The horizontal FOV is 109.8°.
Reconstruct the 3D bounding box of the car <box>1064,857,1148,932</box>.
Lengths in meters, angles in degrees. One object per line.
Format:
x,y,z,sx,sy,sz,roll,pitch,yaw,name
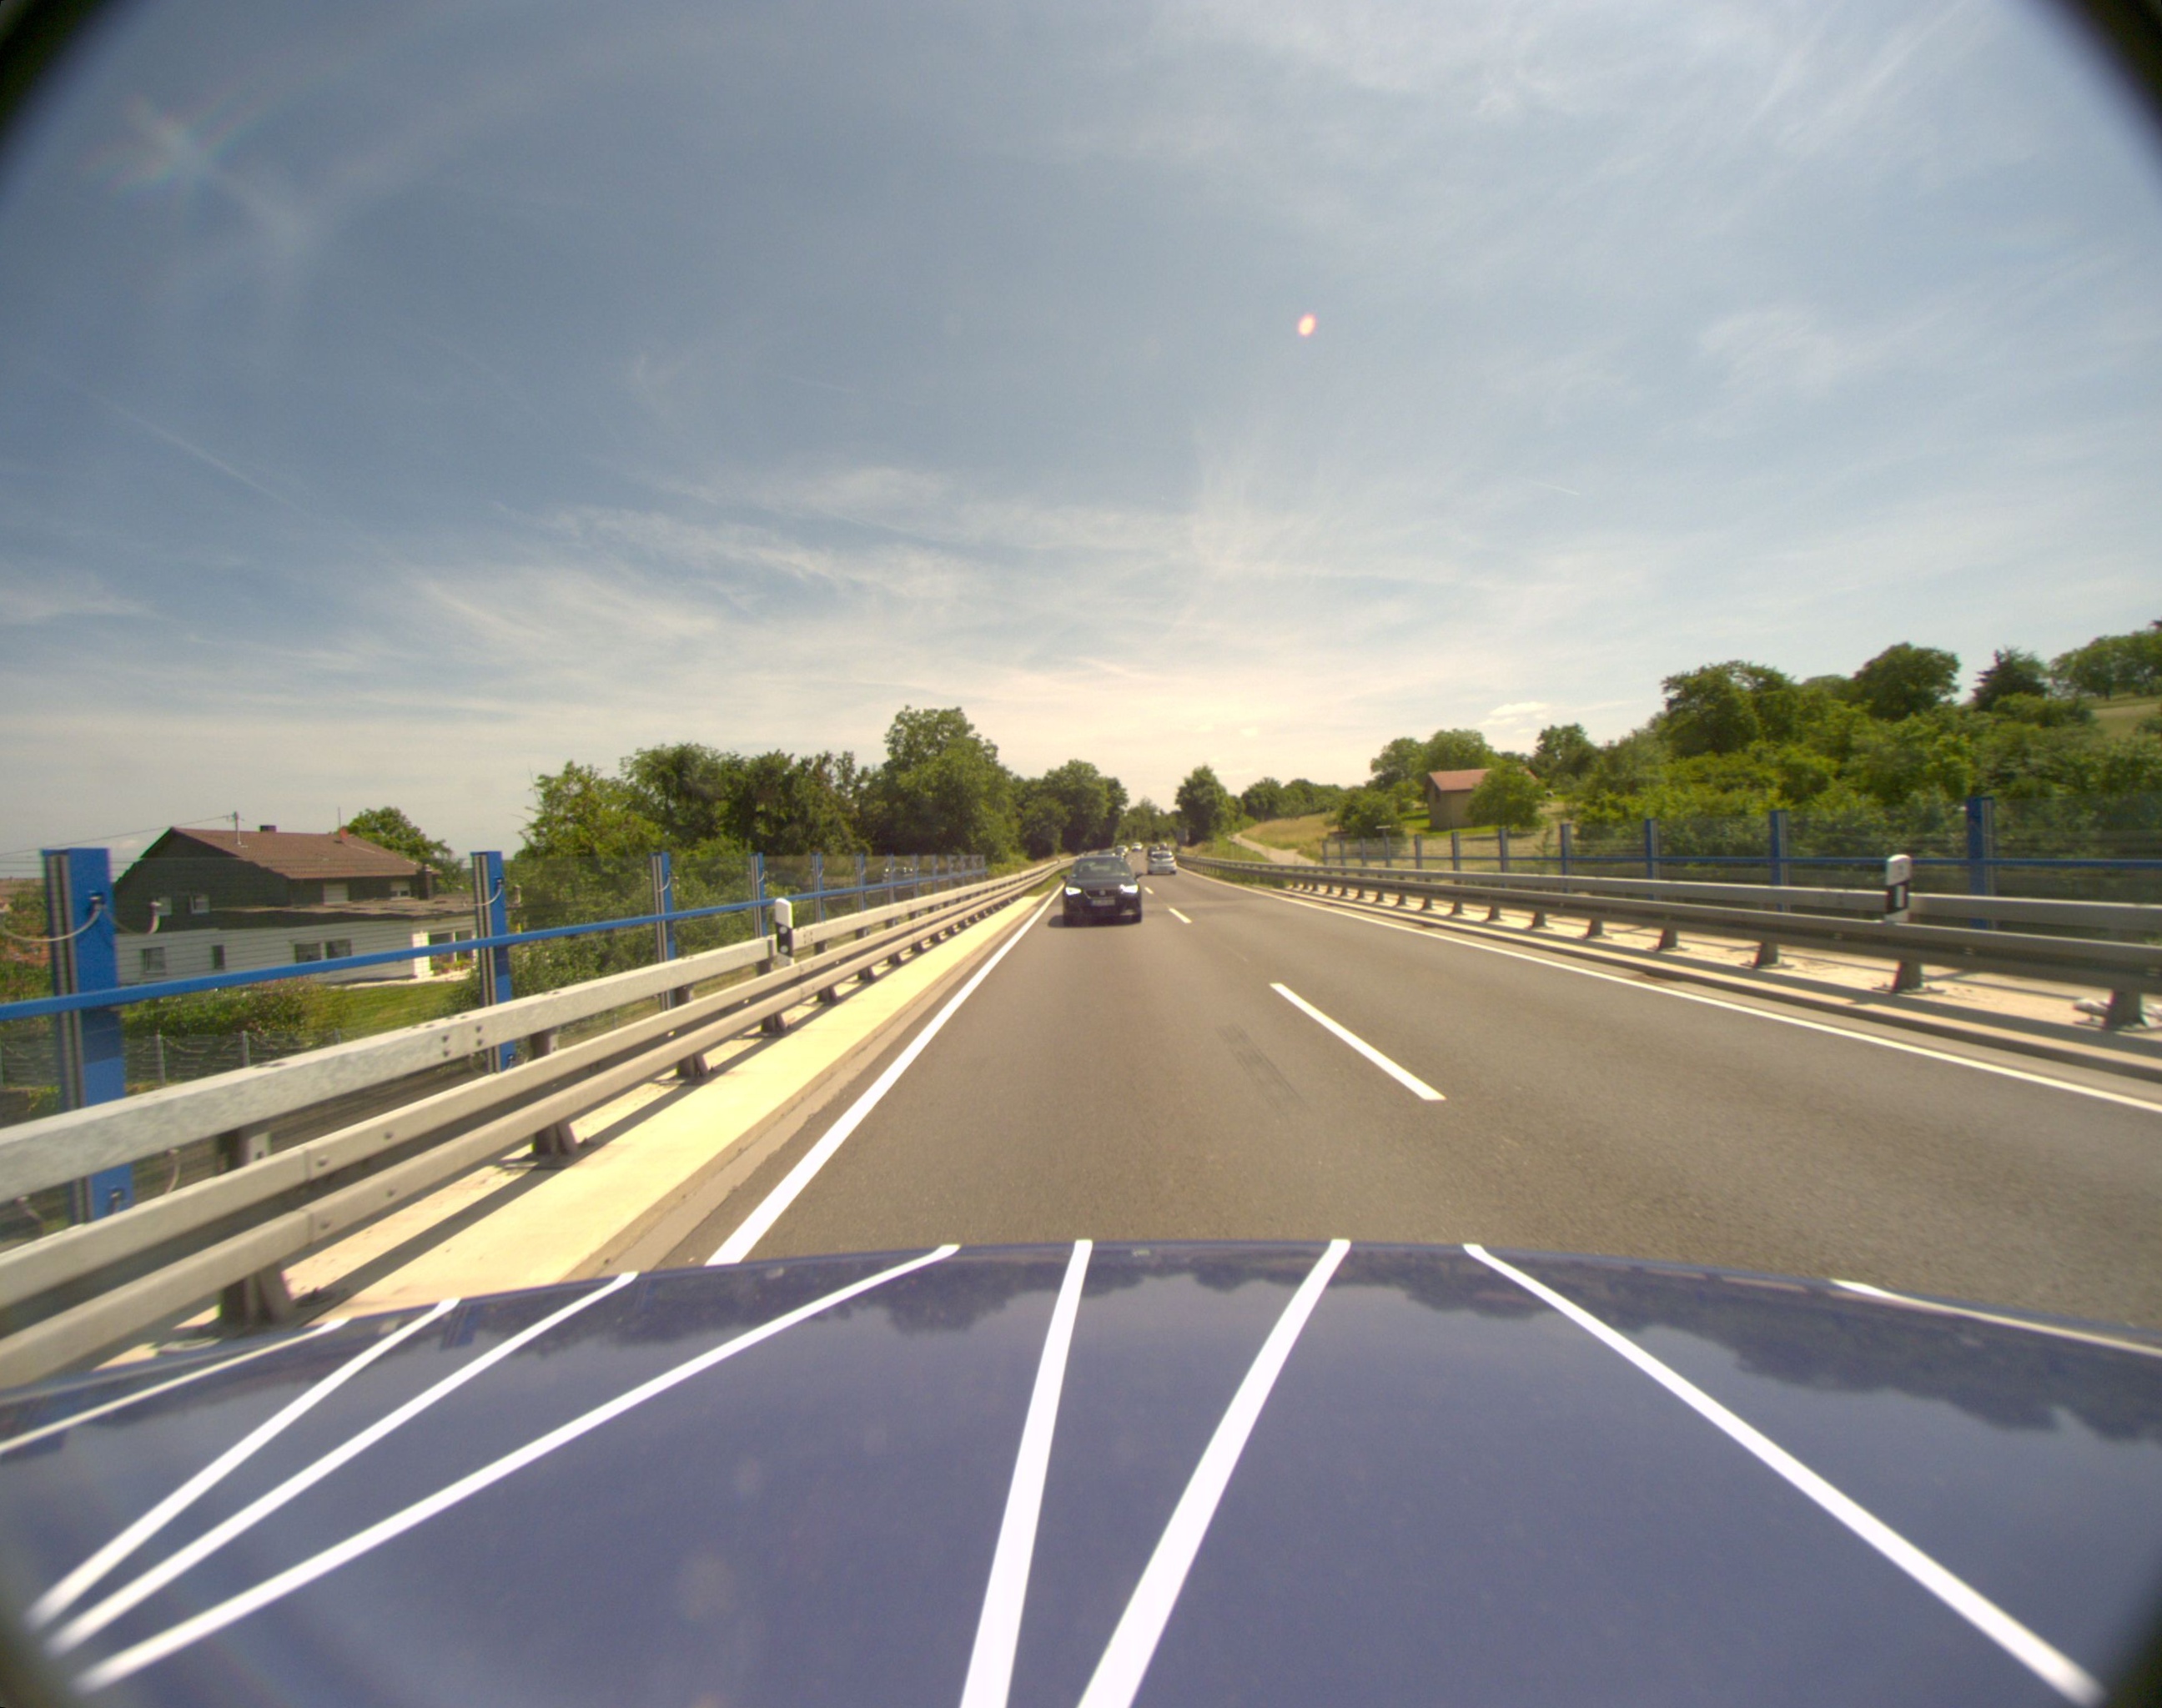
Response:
0.557,0.850,17.872,1.737,1.467,3.999,-1,1,1,car

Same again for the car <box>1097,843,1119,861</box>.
2.720,-0.256,76.015,1.882,1.698,4.001,-1,1,7,car

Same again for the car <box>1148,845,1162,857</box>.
10.430,-0.452,107.291,1.810,1.580,4.380,-1,1,5,car

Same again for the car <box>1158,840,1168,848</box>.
16.148,-1.936,149.621,1.649,1.432,4.161,-1,1,9,car

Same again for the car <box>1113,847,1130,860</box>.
5.389,-0.091,100.164,1.882,1.698,4.002,-1,1,7,car

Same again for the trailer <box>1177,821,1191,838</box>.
26.349,-6.126,193.550,2.449,4.161,14.024,-1,1,11,trailer

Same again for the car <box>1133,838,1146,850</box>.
11.022,-1.929,142.818,1.997,2.002,4.001,-2,2,9,car

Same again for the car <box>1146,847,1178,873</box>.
5.179,0.347,49.003,1.711,1.496,4.118,-1,1,1,car
